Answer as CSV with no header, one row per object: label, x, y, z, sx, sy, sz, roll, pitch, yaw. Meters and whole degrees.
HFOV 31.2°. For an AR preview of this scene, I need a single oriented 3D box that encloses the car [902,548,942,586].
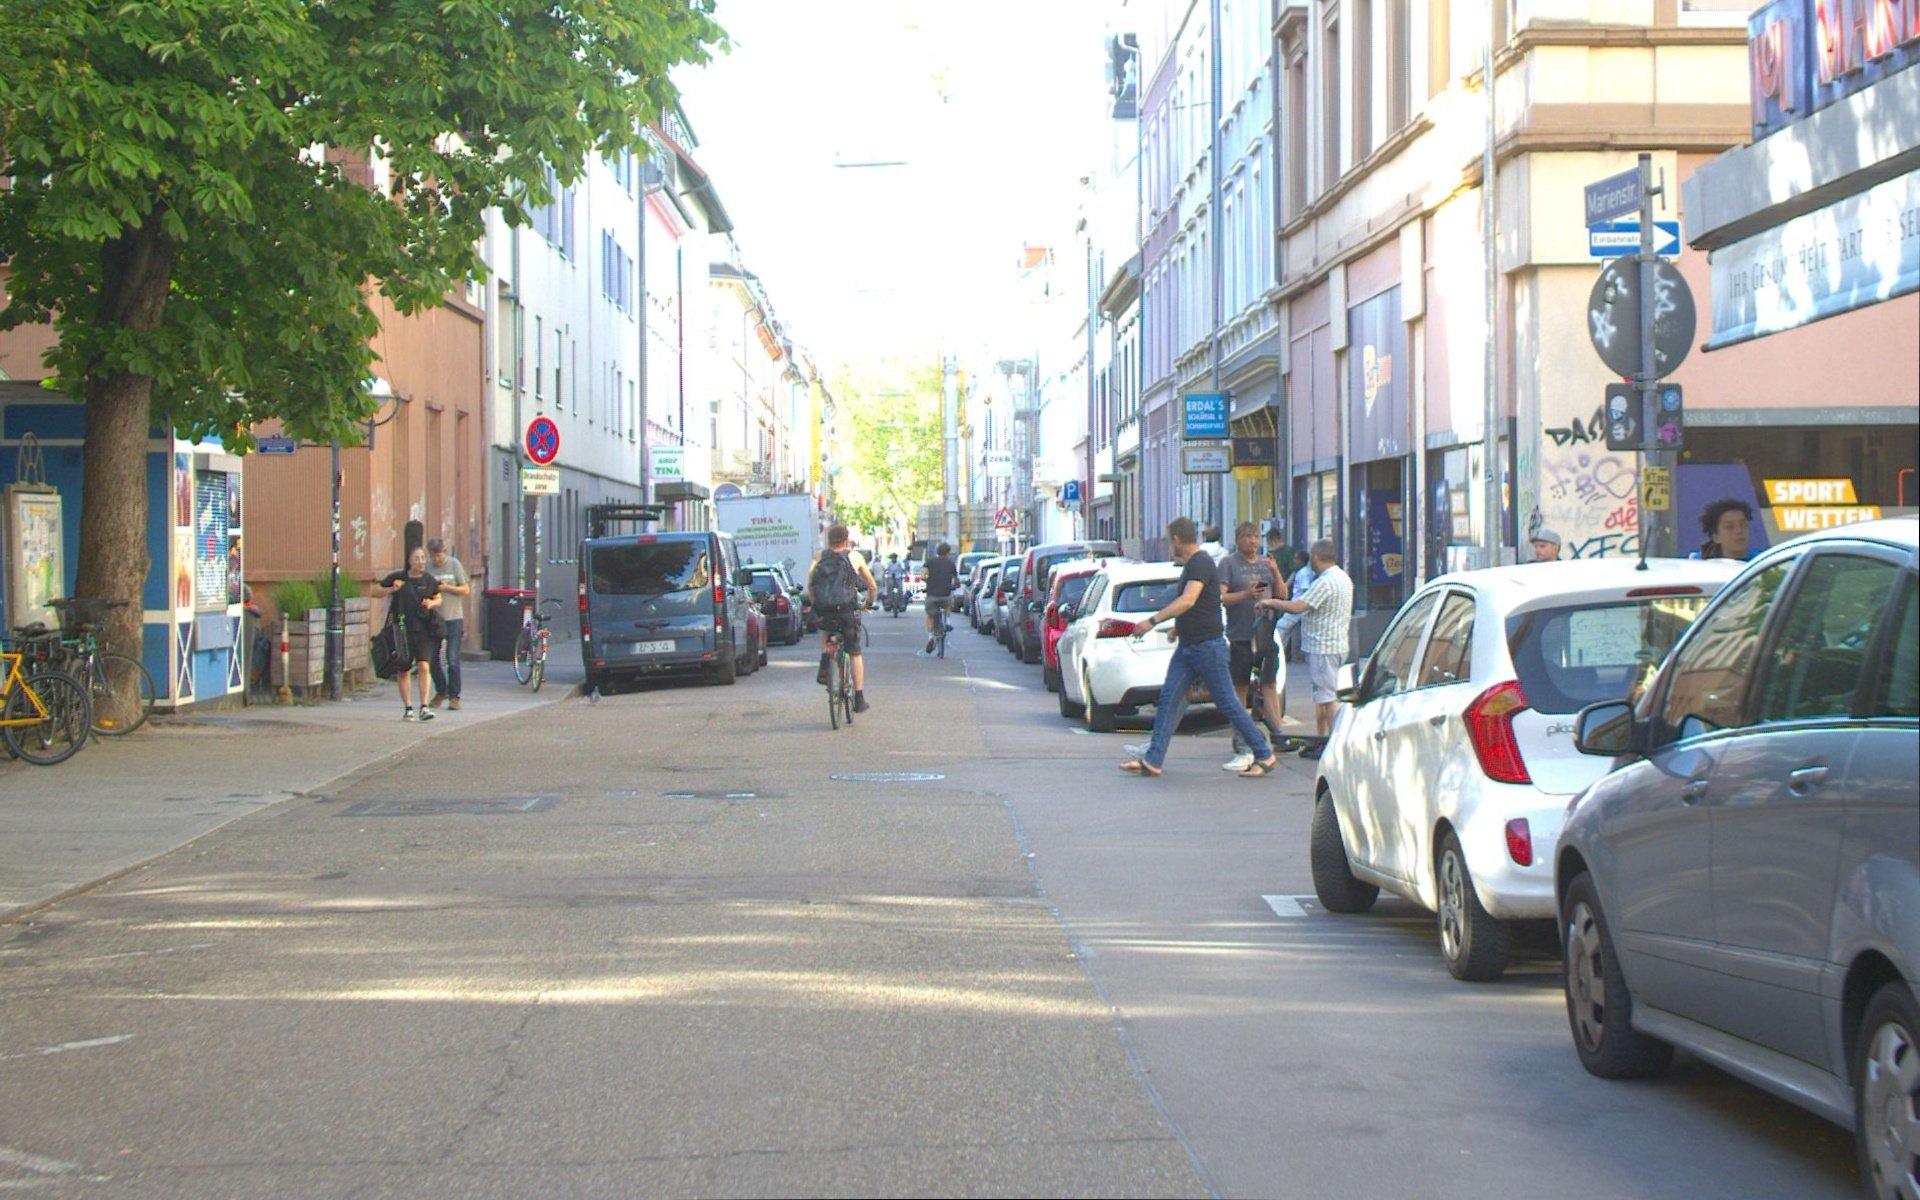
car,-1.583,-1.384,142.262,1.611,1.555,3.610,0,1,-1

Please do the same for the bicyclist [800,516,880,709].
bicyclist,-1.059,0.108,30.538,0.667,1.671,1.097,1,0,-1

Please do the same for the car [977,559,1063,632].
car,1.313,-0.099,76.831,1.686,1.538,4.046,-2,0,-1

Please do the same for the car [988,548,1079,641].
car,1.385,-0.112,65.874,1.556,1.706,3.559,1,0,-1

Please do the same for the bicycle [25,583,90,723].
bicycle,-7.712,0.434,29.400,0.497,1.127,2.038,1,1,-14

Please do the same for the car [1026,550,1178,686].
car,1.699,0.211,42.019,1.606,1.567,3.554,1,0,-1

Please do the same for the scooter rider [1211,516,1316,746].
scooter rider,2.373,0.237,26.859,0.564,1.772,0.610,1,0,34

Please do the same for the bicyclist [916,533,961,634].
bicyclist,-0.343,-0.256,53.602,0.671,1.562,0.716,1,0,0

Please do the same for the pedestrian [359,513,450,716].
pedestrian,-5.182,0.132,32.117,0.716,1.867,0.720,1,0,-1

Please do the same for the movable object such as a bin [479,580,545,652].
movable object such as a bin,-6.696,0.235,51.386,0.760,1.063,0.651,1,0,19

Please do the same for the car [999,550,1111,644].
car,1.570,-0.057,57.840,1.552,1.506,3.612,1,0,-4

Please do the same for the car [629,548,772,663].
car,-3.714,0.076,49.747,1.750,1.517,3.869,-3,0,-1

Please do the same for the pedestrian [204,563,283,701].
pedestrian,-7.646,0.338,36.681,0.705,1.440,0.617,1,0,-2

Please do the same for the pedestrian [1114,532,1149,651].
pedestrian,2.487,-0.126,49.810,0.441,1.698,0.654,1,0,0

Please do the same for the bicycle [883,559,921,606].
bicycle,-1.654,-0.514,98.255,0.977,1.310,2.555,-1,1,1

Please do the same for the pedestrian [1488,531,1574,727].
pedestrian,4.874,0.240,29.345,0.600,1.644,0.464,1,3,30

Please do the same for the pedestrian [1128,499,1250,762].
pedestrian,1.623,0.213,24.451,0.761,1.829,0.688,1,0,-3

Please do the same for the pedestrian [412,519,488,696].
pedestrian,-5.378,0.077,36.270,0.646,1.827,0.697,2,0,-1

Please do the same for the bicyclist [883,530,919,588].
bicyclist,-1.687,-1.181,98.210,0.950,1.622,0.953,-2,1,0

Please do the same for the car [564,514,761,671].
car,-3.762,-0.132,44.314,2.020,1.873,5.297,1,1,0

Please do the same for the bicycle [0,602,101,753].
bicycle,-7.143,0.557,25.297,1.574,1.079,0.346,1,0,10

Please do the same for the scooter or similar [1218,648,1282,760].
scooter or similar,2.237,0.797,26.567,0.393,0.825,0.926,1,0,-1

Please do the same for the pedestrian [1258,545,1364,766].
pedestrian,2.629,0.410,25.758,0.528,1.633,0.564,1,0,44

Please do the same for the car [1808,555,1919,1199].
car,2.205,0.709,3.584,1.554,1.521,4.201,1,0,-1

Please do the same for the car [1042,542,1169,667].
car,1.949,0.057,46.875,1.570,1.551,3.314,-3,0,1

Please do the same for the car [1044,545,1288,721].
car,1.847,0.283,32.024,1.786,1.511,4.137,1,0,-3

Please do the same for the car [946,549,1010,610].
car,0.554,-0.648,108.593,1.750,1.872,3.973,-1,0,-3

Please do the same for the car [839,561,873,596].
car,-5.534,-1.116,183.157,1.750,1.815,3.796,-1,0,-1

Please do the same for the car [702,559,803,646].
car,-3.946,0.024,65.921,1.716,1.473,4.499,-3,1,-1

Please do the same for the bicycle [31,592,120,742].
bicycle,-6.813,0.501,26.509,0.292,1.079,1.579,1,1,-1

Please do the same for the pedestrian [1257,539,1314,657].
pedestrian,4.262,-0.023,45.035,0.587,1.524,0.659,1,0,-6

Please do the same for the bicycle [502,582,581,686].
bicycle,-5.059,0.395,41.448,0.550,1.212,1.989,1,0,-18

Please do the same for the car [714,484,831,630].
car,-4.435,-1.001,82.398,2.343,3.280,7.154,-2,0,0

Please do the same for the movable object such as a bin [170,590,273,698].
movable object such as a bin,-7.557,0.444,35.196,0.870,1.083,0.774,1,0,0

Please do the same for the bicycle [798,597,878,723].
bicycle,-1.074,0.516,30.521,0.677,1.071,1.942,1,0,-1

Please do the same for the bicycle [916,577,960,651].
bicycle,-0.349,0.217,53.711,0.648,1.126,2.136,1,0,-1

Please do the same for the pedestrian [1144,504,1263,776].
pedestrian,1.656,0.258,23.504,0.693,1.819,1.003,0,1,-3

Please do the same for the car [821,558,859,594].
car,-5.746,-1.133,165.275,1.750,1.678,3.796,-1,0,-1

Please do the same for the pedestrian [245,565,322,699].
pedestrian,-7.378,0.346,37.501,0.705,1.440,0.617,1,0,-2

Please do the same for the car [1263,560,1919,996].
car,2.319,0.603,13.507,1.689,1.458,3.641,1,0,-4

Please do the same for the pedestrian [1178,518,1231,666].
pedestrian,2.885,-0.095,40.543,0.561,1.734,0.428,1,0,0

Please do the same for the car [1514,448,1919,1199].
car,2.658,0.532,8.680,1.700,1.644,4.064,1,0,-2

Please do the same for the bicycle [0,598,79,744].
bicycle,-7.138,0.533,26.510,0.292,1.042,1.579,1,1,-1

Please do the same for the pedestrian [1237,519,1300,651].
pedestrian,4.107,-0.201,45.787,0.628,1.734,0.659,1,0,-14

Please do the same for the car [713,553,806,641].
car,-4.137,-0.096,71.485,1.716,1.645,4.246,-3,1,-1

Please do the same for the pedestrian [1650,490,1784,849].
pedestrian,4.062,0.368,18.464,0.561,1.887,0.530,1,0,-1

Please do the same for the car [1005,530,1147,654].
car,1.729,-0.121,52.584,1.899,1.787,4.315,1,0,-1

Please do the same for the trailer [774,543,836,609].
trailer,-5.037,-0.773,111.867,1.882,2.085,3.737,-1,0,-1
